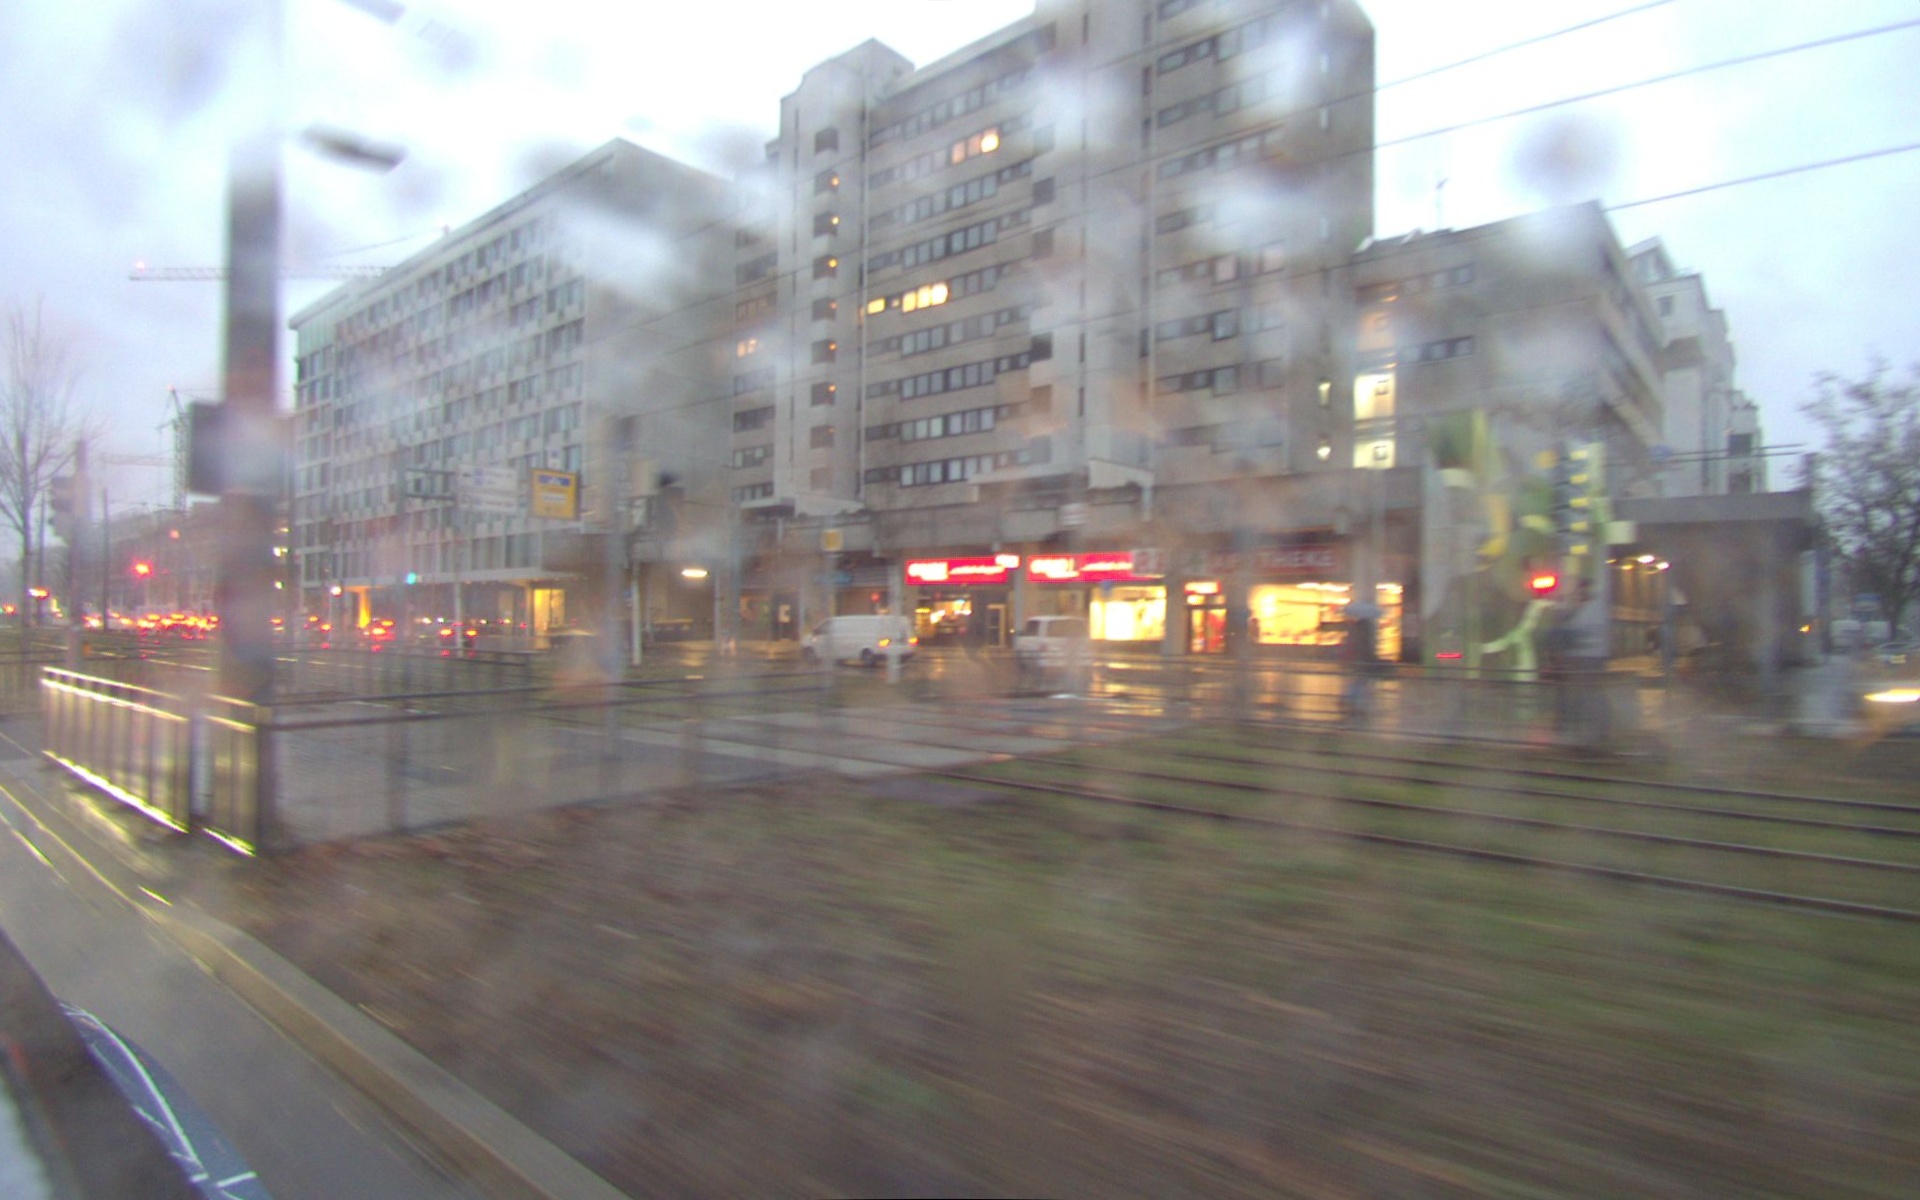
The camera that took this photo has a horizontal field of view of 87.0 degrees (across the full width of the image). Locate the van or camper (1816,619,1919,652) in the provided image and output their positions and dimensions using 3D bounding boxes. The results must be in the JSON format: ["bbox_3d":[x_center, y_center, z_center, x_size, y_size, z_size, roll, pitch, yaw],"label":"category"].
[{"bbox_3d":[64.635,2.519,71.992,5.632,2.260,1.972,-1,-2,42],"label":"van or camper"}]

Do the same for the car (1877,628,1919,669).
[{"bbox_3d":[34.512,1.699,35.291,3.574,1.431,1.706,-1,-1,38],"label":"car"}]

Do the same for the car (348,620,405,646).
[{"bbox_3d":[-34.978,1.950,60.673,3.887,1.523,1.732,0,-1,40],"label":"car"}]

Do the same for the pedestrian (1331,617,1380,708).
[{"bbox_3d":[6.693,1.038,17.111,0.629,1.501,0.783,-1,-2,33],"label":"pedestrian"}]

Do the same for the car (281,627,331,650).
[{"bbox_3d":[-44.559,2.581,68.931,3.870,1.460,1.732,0,-1,40],"label":"car"}]

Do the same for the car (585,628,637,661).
[{"bbox_3d":[-18.579,2.346,53.974,1.656,1.630,3.781,0,-1,-4],"label":"car"}]

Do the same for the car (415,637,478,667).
[{"bbox_3d":[-27.377,2.767,53.949,3.764,1.460,1.656,0,-1,40],"label":"car"}]

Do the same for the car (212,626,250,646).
[{"bbox_3d":[-58.427,2.867,81.107,3.870,1.460,1.575,0,-1,40],"label":"car"}]

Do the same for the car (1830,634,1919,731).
[{"bbox_3d":[18.064,1.394,17.086,4.660,1.557,1.990,0,-1,15],"label":"car"}]

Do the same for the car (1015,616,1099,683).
[{"bbox_3d":[3.275,1.625,35.067,1.969,2.029,4.580,0,1,-7],"label":"car"}]

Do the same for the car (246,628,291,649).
[{"bbox_3d":[-50.836,2.836,74.396,3.870,1.460,1.732,0,-1,40],"label":"car"}]

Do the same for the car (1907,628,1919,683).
[{"bbox_3d":[30.291,1.663,29.648,3.639,1.613,1.599,-1,-1,42],"label":"car"}]

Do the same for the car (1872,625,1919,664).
[{"bbox_3d":[36.073,1.641,37.259,3.574,1.431,1.815,-1,-1,38],"label":"car"}]

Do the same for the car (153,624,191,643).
[{"bbox_3d":[-63.020,2.686,80.945,3.870,1.460,1.575,0,-1,40],"label":"car"}]

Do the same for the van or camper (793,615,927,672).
[{"bbox_3d":[-4.023,1.663,39.952,5.651,2.113,1.973,-1,-2,41],"label":"van or camper"}]

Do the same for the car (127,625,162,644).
[{"bbox_3d":[-69.238,2.910,85.948,3.870,1.460,1.575,0,-1,40],"label":"car"}]
